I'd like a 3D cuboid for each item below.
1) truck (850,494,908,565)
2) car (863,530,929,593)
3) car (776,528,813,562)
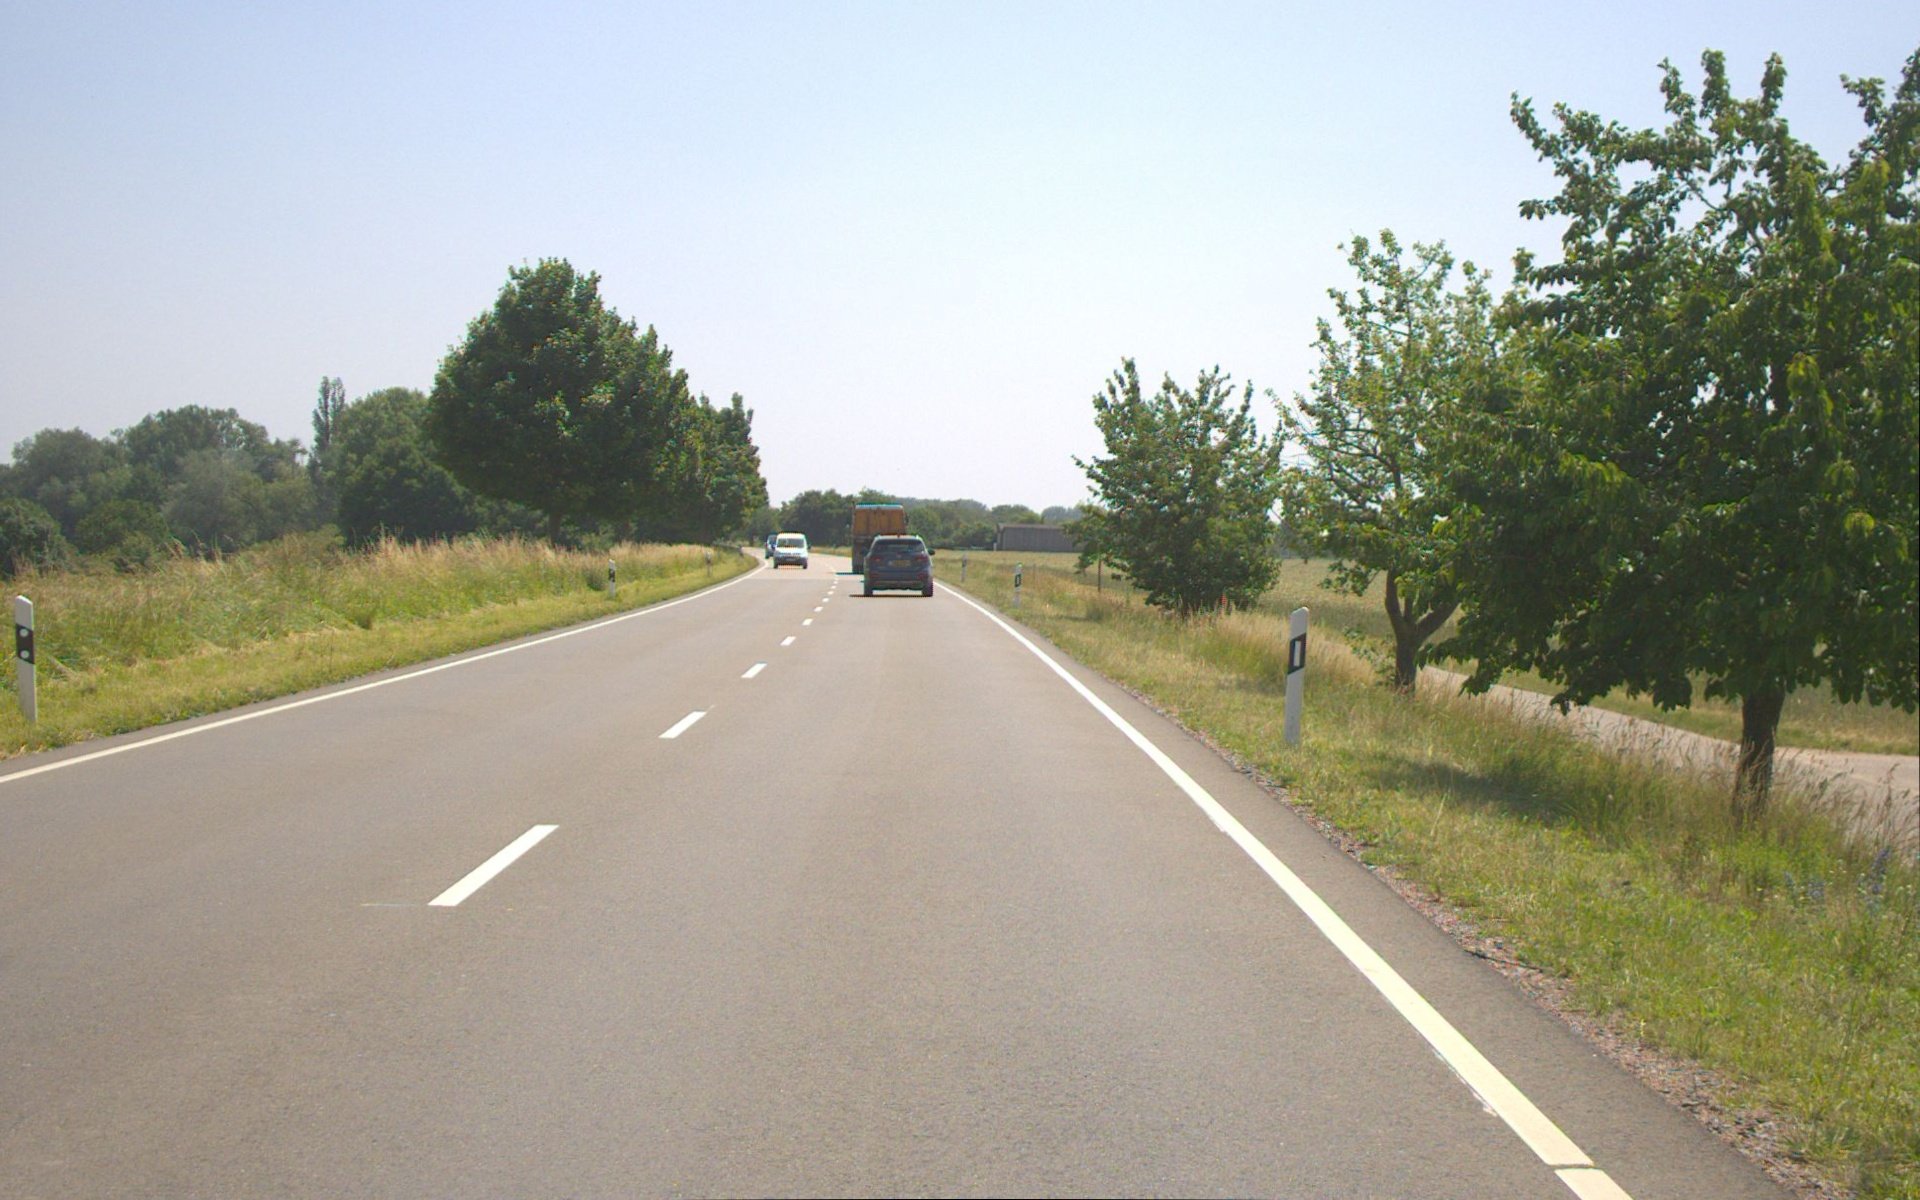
[{"bbox_3d":[-3.738,-3.178,156.922,2.370,3.129,8.748,1,1,-3],"label":"truck"},{"bbox_3d":[-1.740,-1.061,94.490,1.714,1.688,3.989,1,1,0],"label":"car"},{"bbox_3d":[-8.653,-2.875,180.057,1.787,1.722,4.304,1,1,-1],"label":"car"}]
